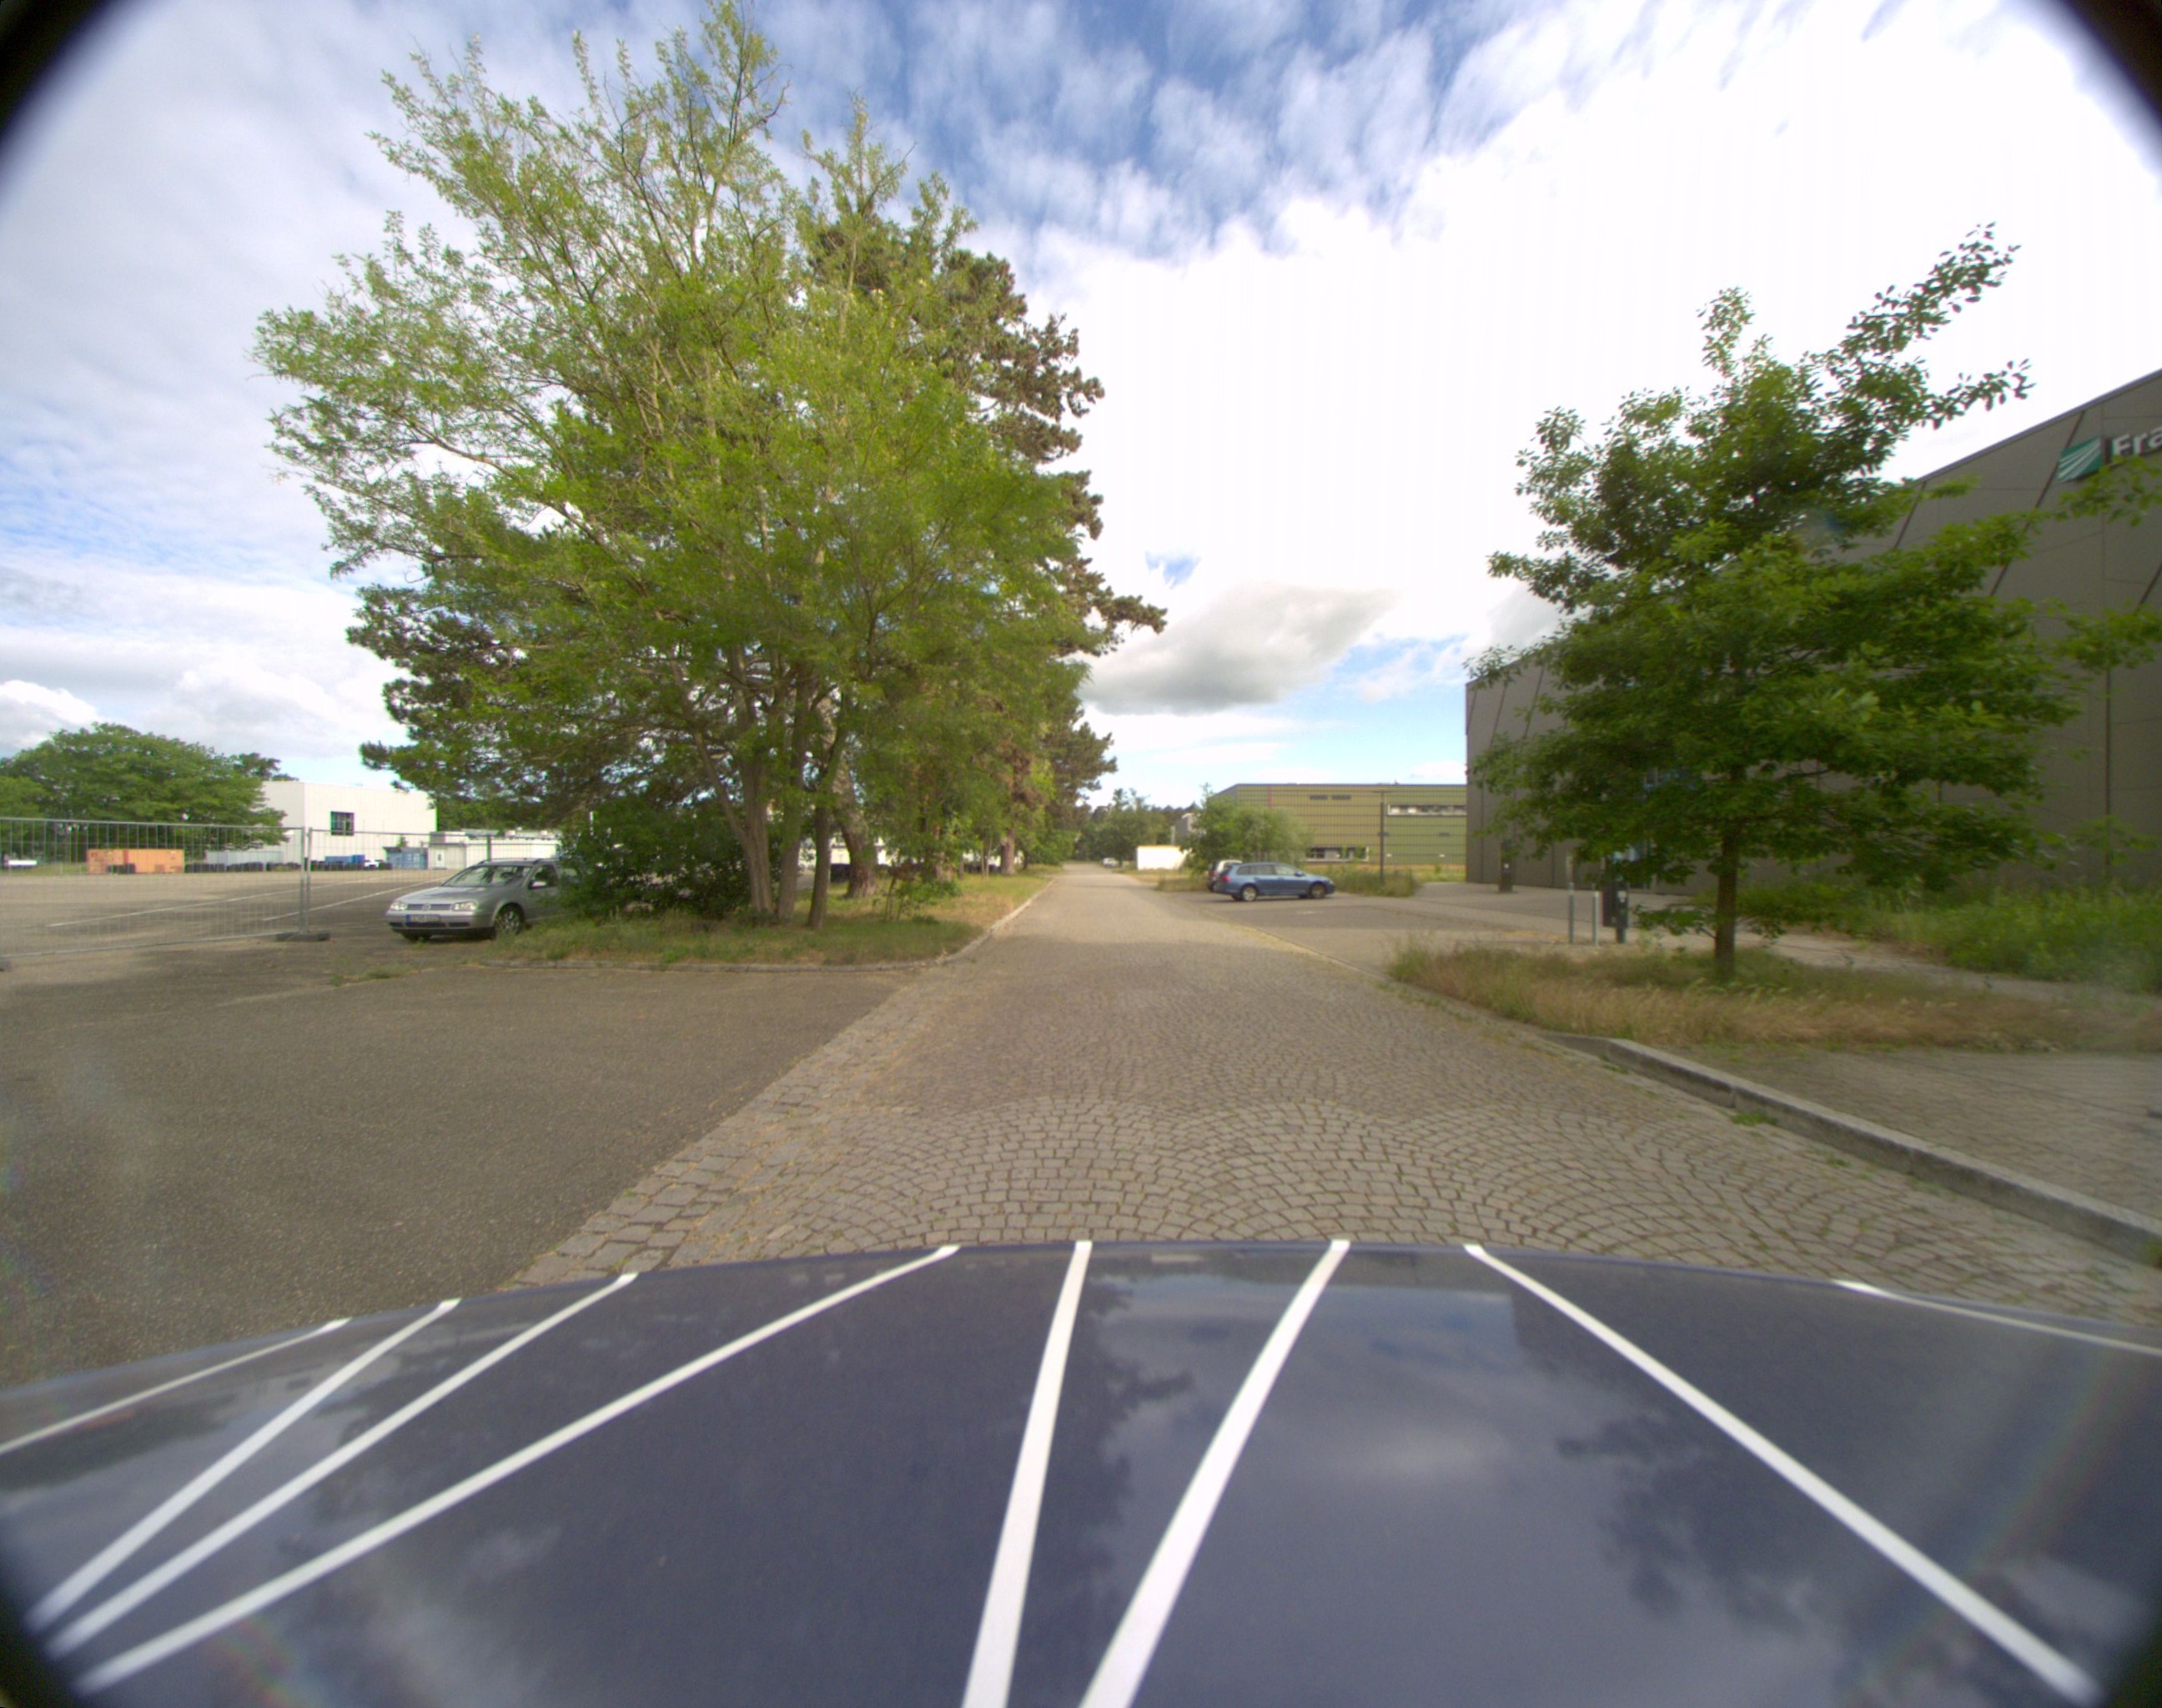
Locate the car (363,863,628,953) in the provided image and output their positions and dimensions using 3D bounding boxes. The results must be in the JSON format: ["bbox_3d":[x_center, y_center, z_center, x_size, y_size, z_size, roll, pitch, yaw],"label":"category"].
[{"bbox_3d":[-11.028,0.917,14.795,1.759,1.440,4.327,0,0,1],"label":"car"}]

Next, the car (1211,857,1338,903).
[{"bbox_3d":[7.396,0.972,29.349,4.404,1.501,1.716,-2,0,-3],"label":"car"}]

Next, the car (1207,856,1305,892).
[{"bbox_3d":[8.348,0.942,36.606,4.401,1.537,1.842,-2,0,7],"label":"car"}]
